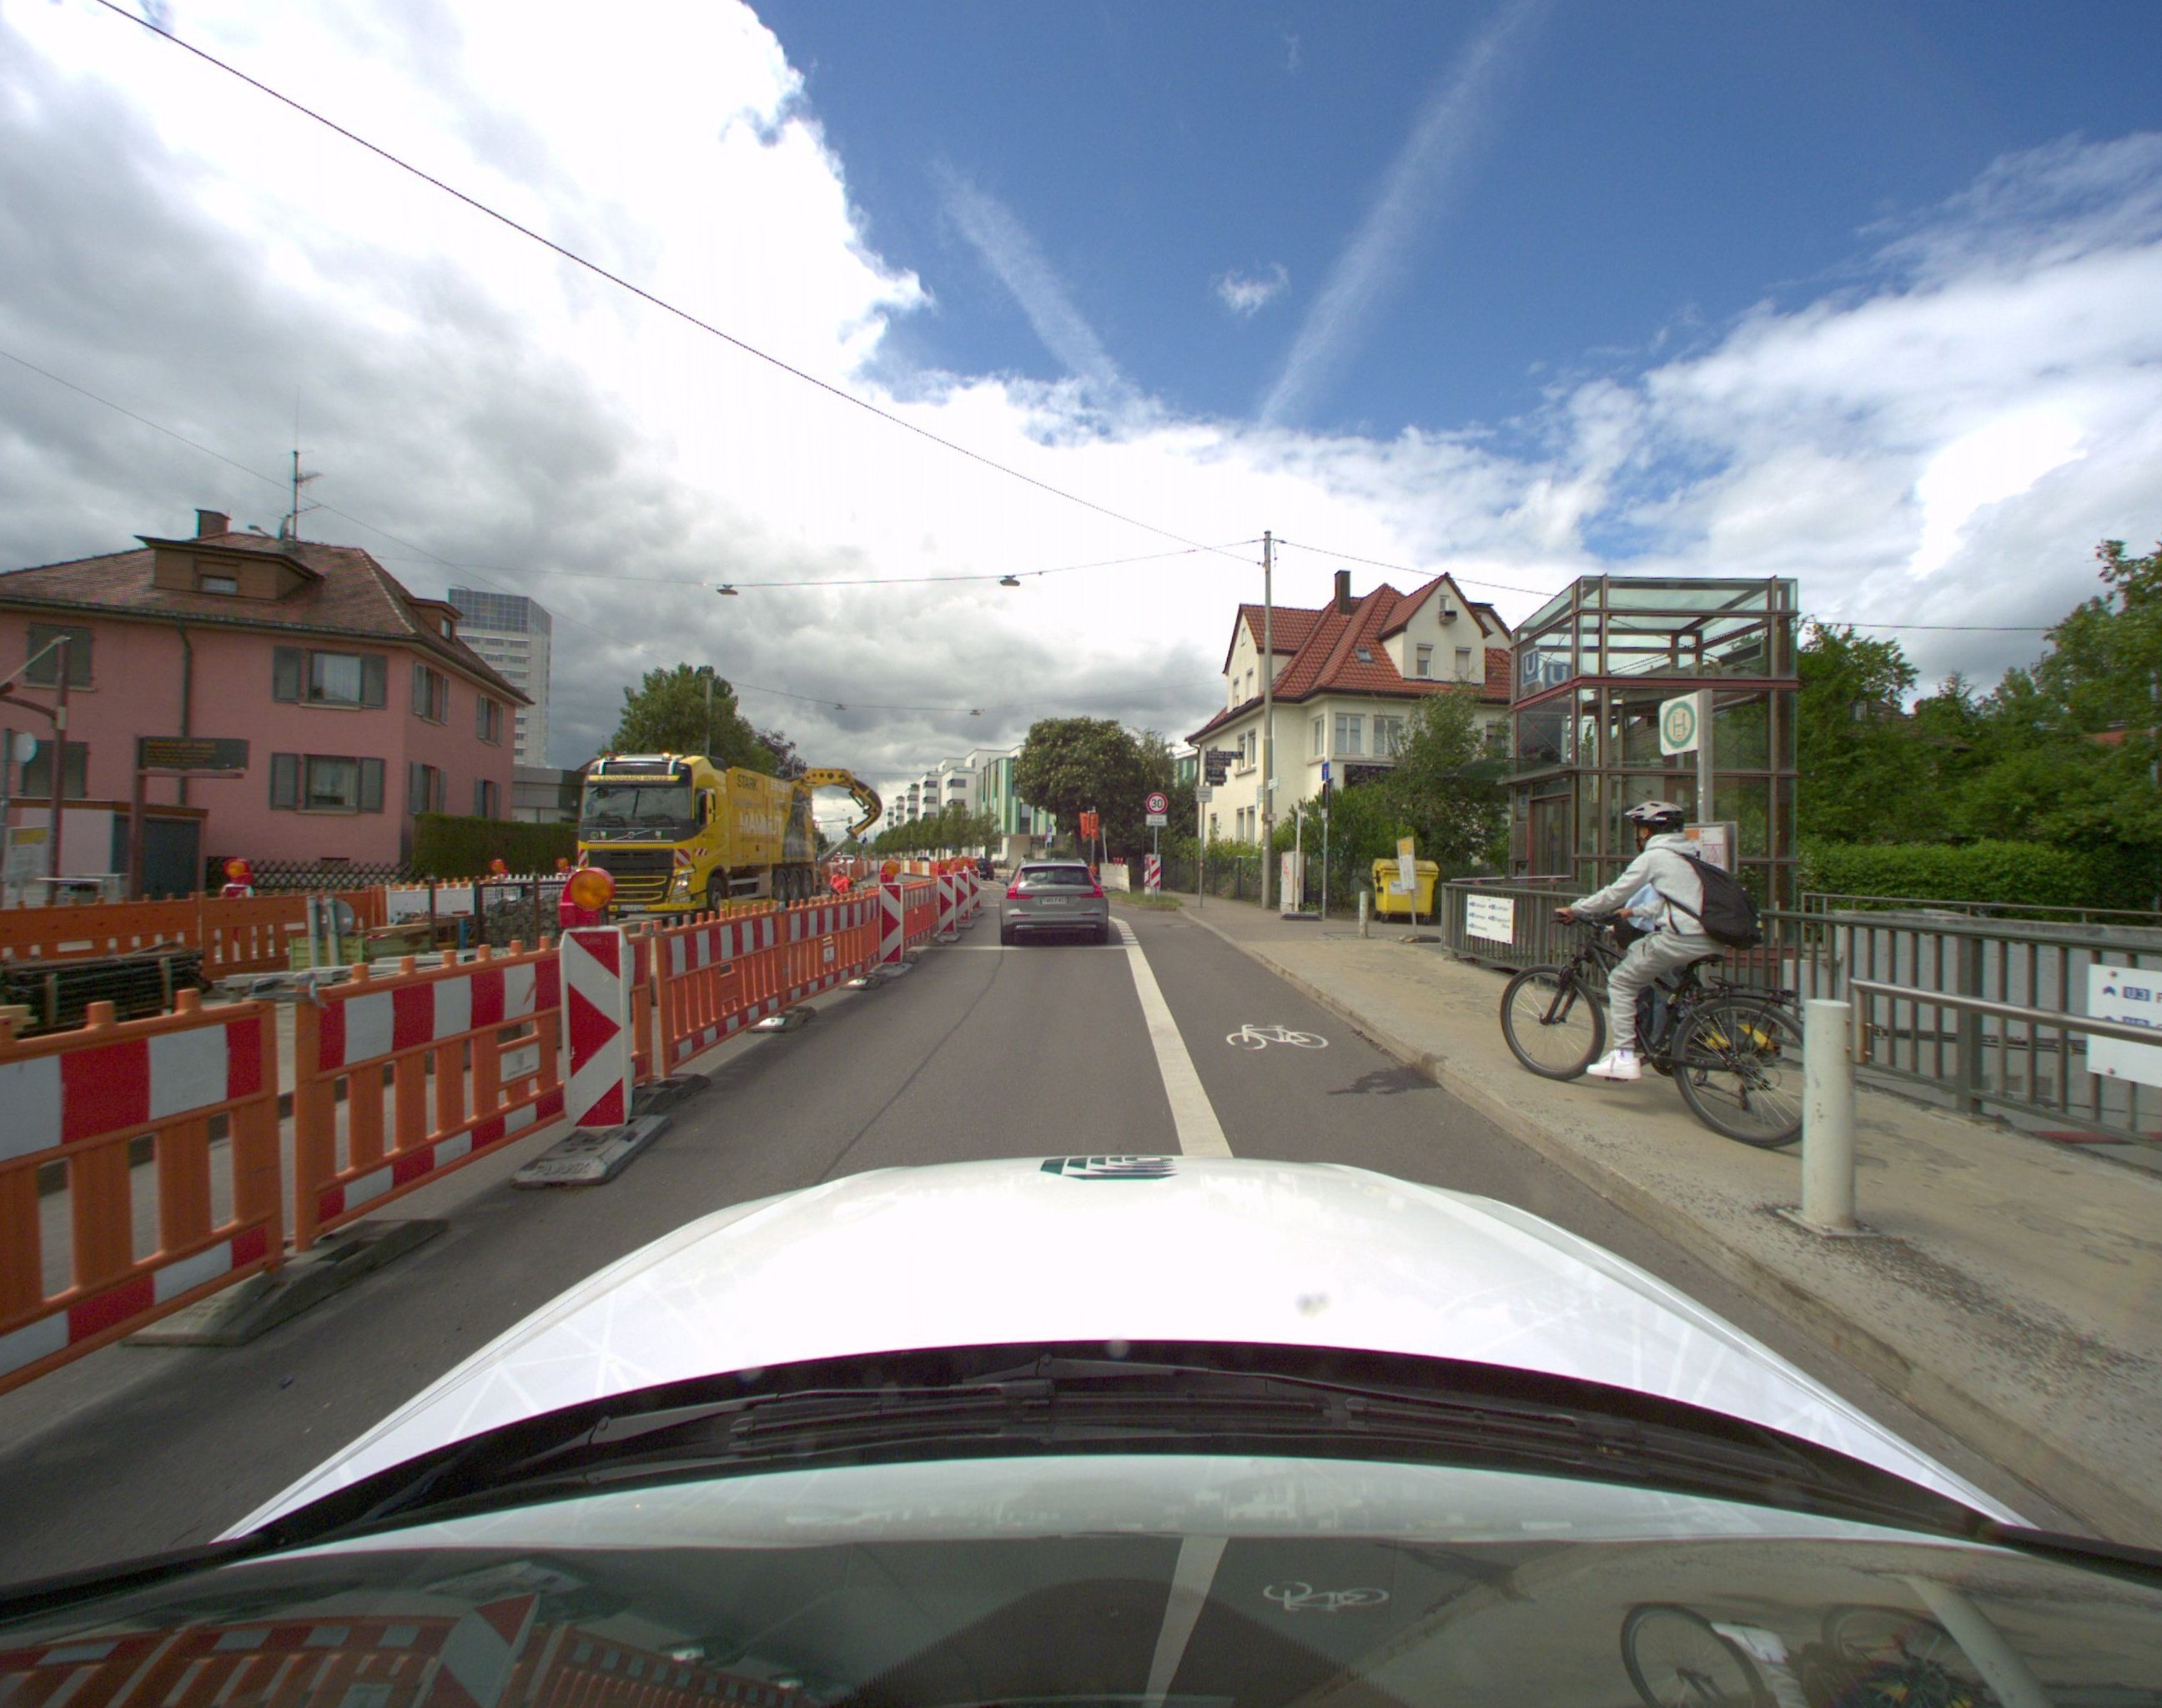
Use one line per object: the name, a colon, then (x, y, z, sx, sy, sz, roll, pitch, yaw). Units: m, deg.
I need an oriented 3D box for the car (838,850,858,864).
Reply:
car: (-24.589, 0.293, 85.994, 1.858, 1.453, 3.979, 2, 0, -15)

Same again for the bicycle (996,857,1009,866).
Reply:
bicycle: (-8.891, 0.834, 92.732, 1.473, 1.046, 0.304, 0, 0, -30)

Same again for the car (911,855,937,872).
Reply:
car: (-14.983, 0.877, 77.542, 1.850, 1.513, 3.976, 2, 0, -18)

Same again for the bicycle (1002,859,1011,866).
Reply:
bicycle: (-8.393, 0.969, 91.765, 0.303, 0.842, 1.031, 0, 0, 40)

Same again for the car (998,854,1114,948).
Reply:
car: (-0.422, 0.753, 15.086, 1.849, 1.513, 3.998, 0, 0, -1)

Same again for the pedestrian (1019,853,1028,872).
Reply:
pedestrian: (-4.740, 0.732, 67.008, 0.582, 1.551, 0.864, 0, -1, -18)

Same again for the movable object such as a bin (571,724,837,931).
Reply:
movable object such as a bin: (-9.360, -0.548, 22.208, 2.585, 4.221, 11.109, 0, 0, -3)

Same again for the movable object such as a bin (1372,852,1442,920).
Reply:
movable object such as a bin: (7.404, 0.704, 18.542, 1.261, 1.470, 1.007, 1, 0, 8)

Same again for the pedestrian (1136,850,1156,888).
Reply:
pedestrian: (2.691, 0.603, 33.666, 0.525, 1.540, 0.628, 0, 0, -43)

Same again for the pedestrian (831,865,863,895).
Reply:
pedestrian: (-8.088, 0.890, 28.176, 0.785, 0.991, 0.814, 0, 0, 11)

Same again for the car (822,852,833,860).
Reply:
car: (-51.873, 0.426, 166.914, 1.856, 1.513, 3.982, 0, 0, -13)

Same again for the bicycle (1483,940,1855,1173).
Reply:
bicycle: (3.054, 0.986, 4.554, 0.633, 0.753, 2.063, 1, 1, 2)

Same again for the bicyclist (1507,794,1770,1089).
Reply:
bicyclist: (3.004, 0.418, 4.529, 0.654, 1.415, 1.179, 1, 0, 1)

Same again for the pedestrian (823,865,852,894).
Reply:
pedestrian: (-8.632, 0.885, 28.904, 0.635, 0.991, 0.797, 0, 0, 21)

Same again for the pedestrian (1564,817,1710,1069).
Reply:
pedestrian: (3.743, 0.581, 5.504, 0.596, 1.583, 0.401, 6, -2, 1)

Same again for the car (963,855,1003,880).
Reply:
car: (-6.474, 0.863, 53.318, 1.859, 1.513, 3.976, 2, 0, -18)
